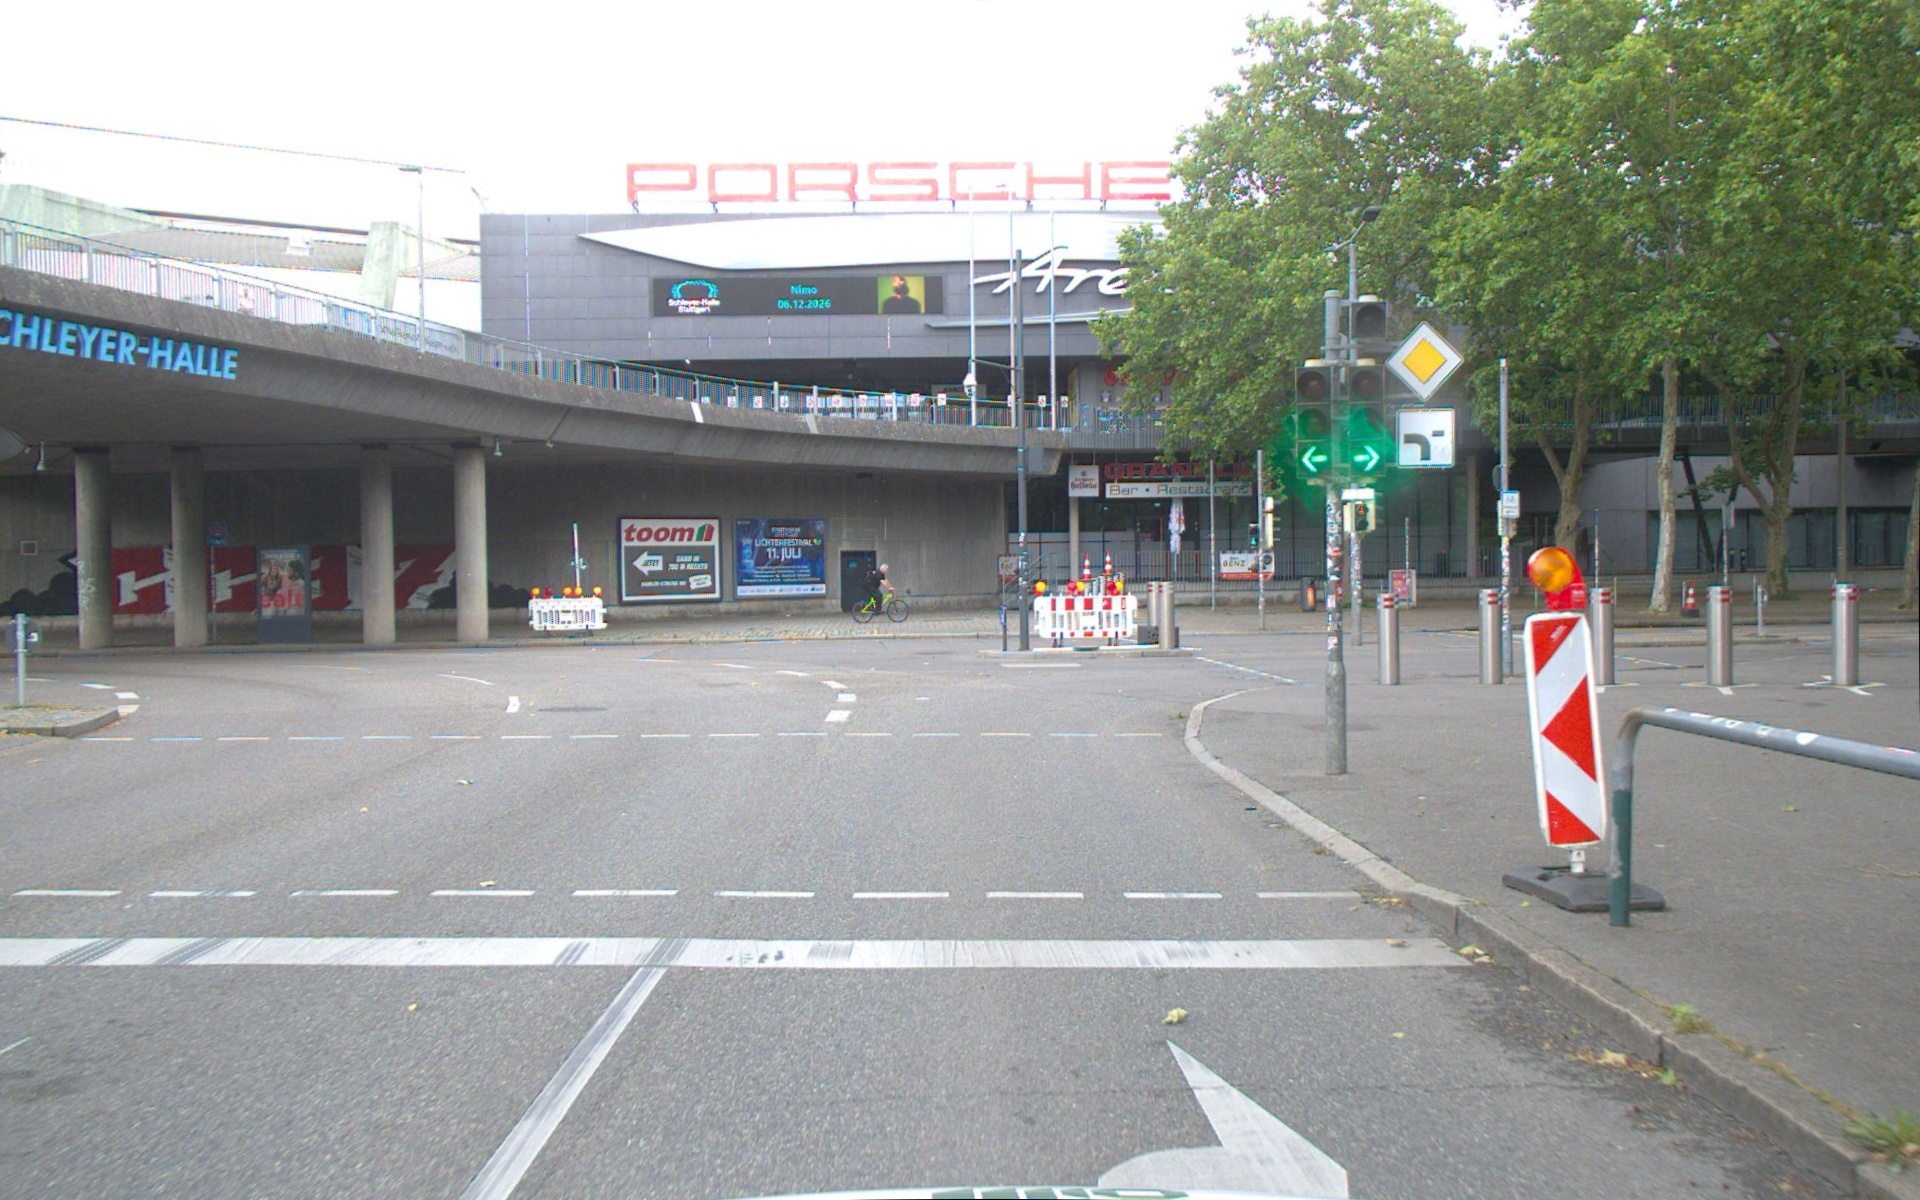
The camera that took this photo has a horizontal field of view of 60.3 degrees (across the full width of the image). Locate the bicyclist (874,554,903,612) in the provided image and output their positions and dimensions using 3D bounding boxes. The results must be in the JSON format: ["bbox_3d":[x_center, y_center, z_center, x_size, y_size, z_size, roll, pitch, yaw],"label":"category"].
[{"bbox_3d":[-2.158,-0.505,49.916,0.835,1.727,0.766,1,0,-5],"label":"bicyclist"}]

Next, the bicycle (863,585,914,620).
[{"bbox_3d":[-2.160,0.067,49.910,1.503,1.031,0.516,1,0,-5],"label":"bicycle"}]
